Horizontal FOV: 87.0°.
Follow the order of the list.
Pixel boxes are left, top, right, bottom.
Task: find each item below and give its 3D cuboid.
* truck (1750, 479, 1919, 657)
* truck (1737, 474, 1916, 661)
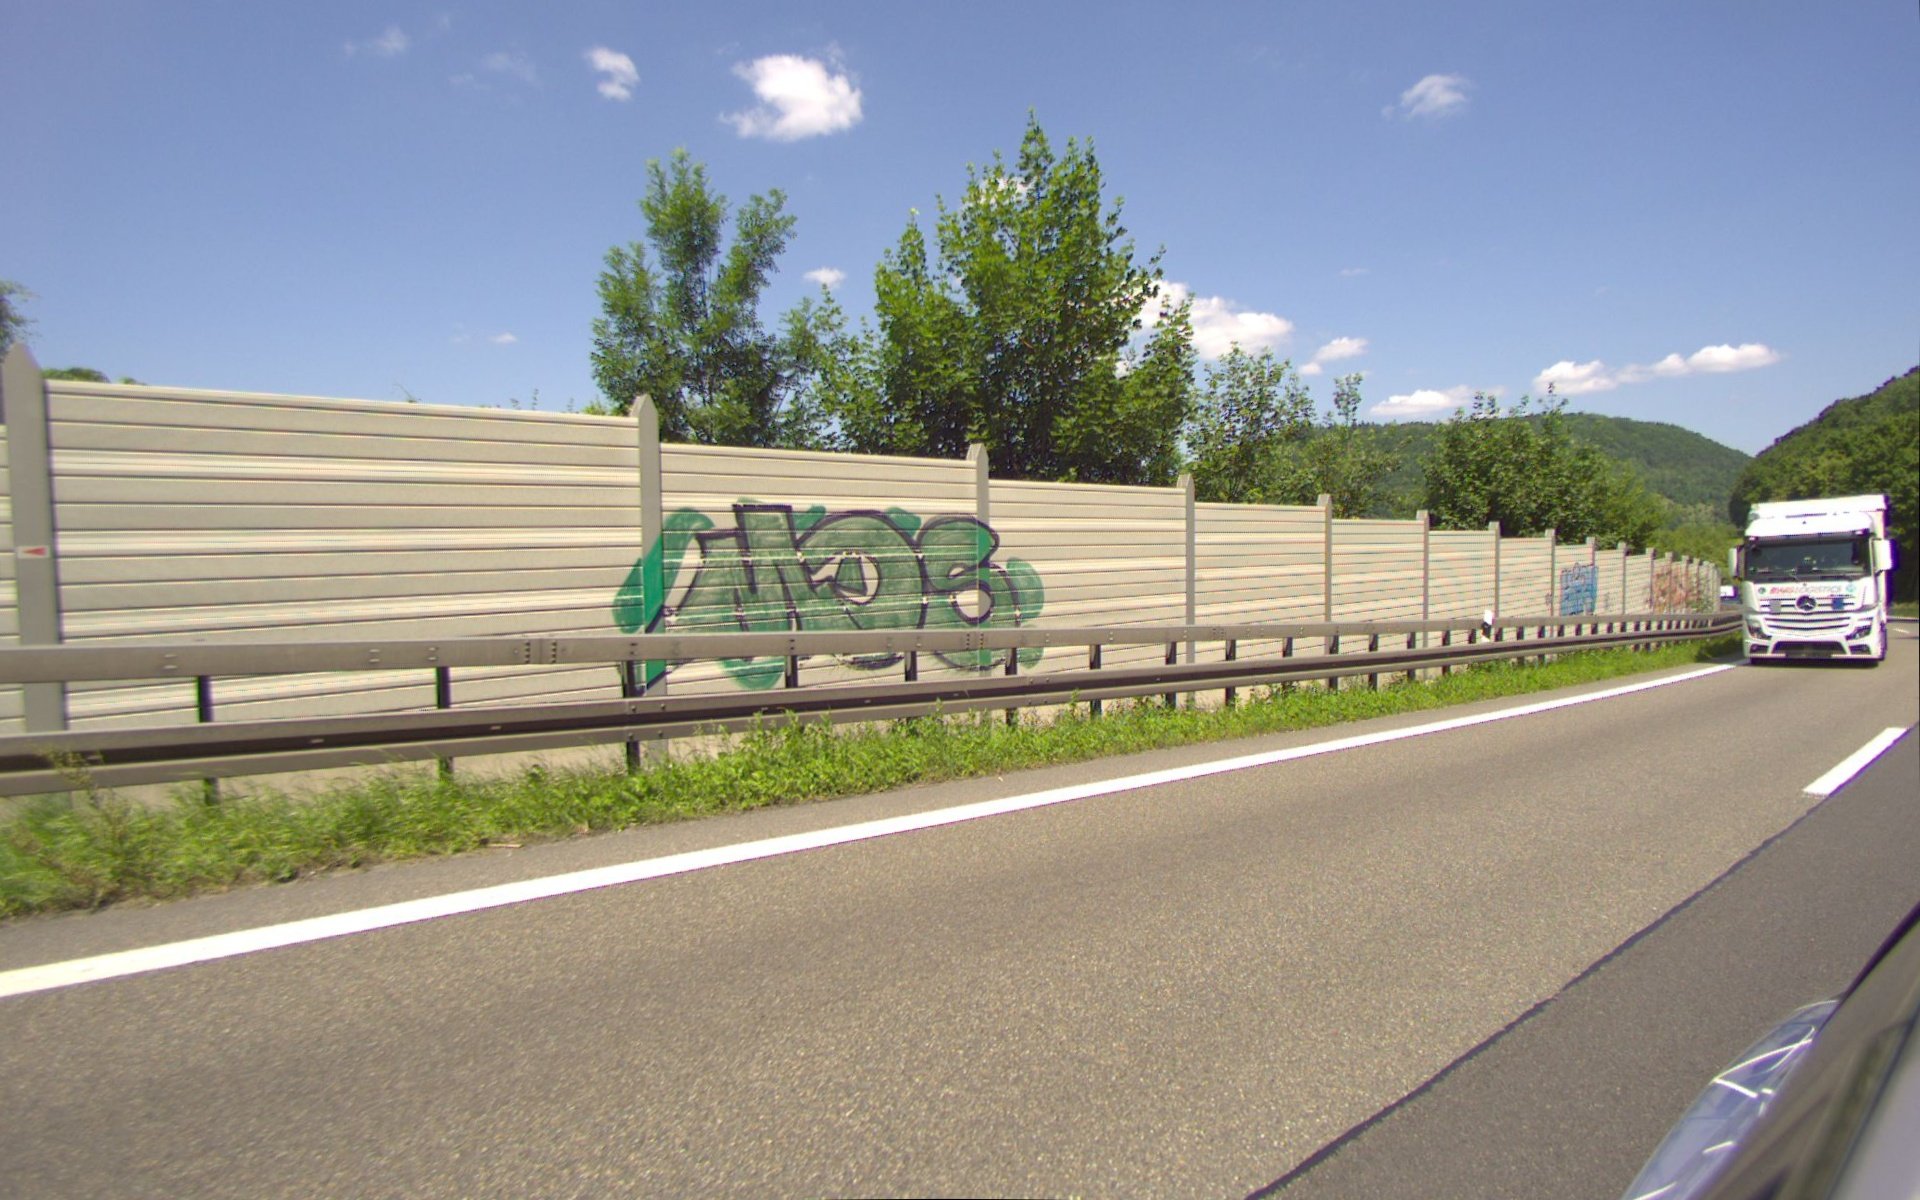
[{"bbox_3d":[25.420,-0.804,29.069,2.855,4.200,11.853,-2,-1,45],"label":"truck"},{"bbox_3d":[21.967,-0.731,25.526,6.713,4.090,2.758,-1,-1,-45],"label":"truck"}]
